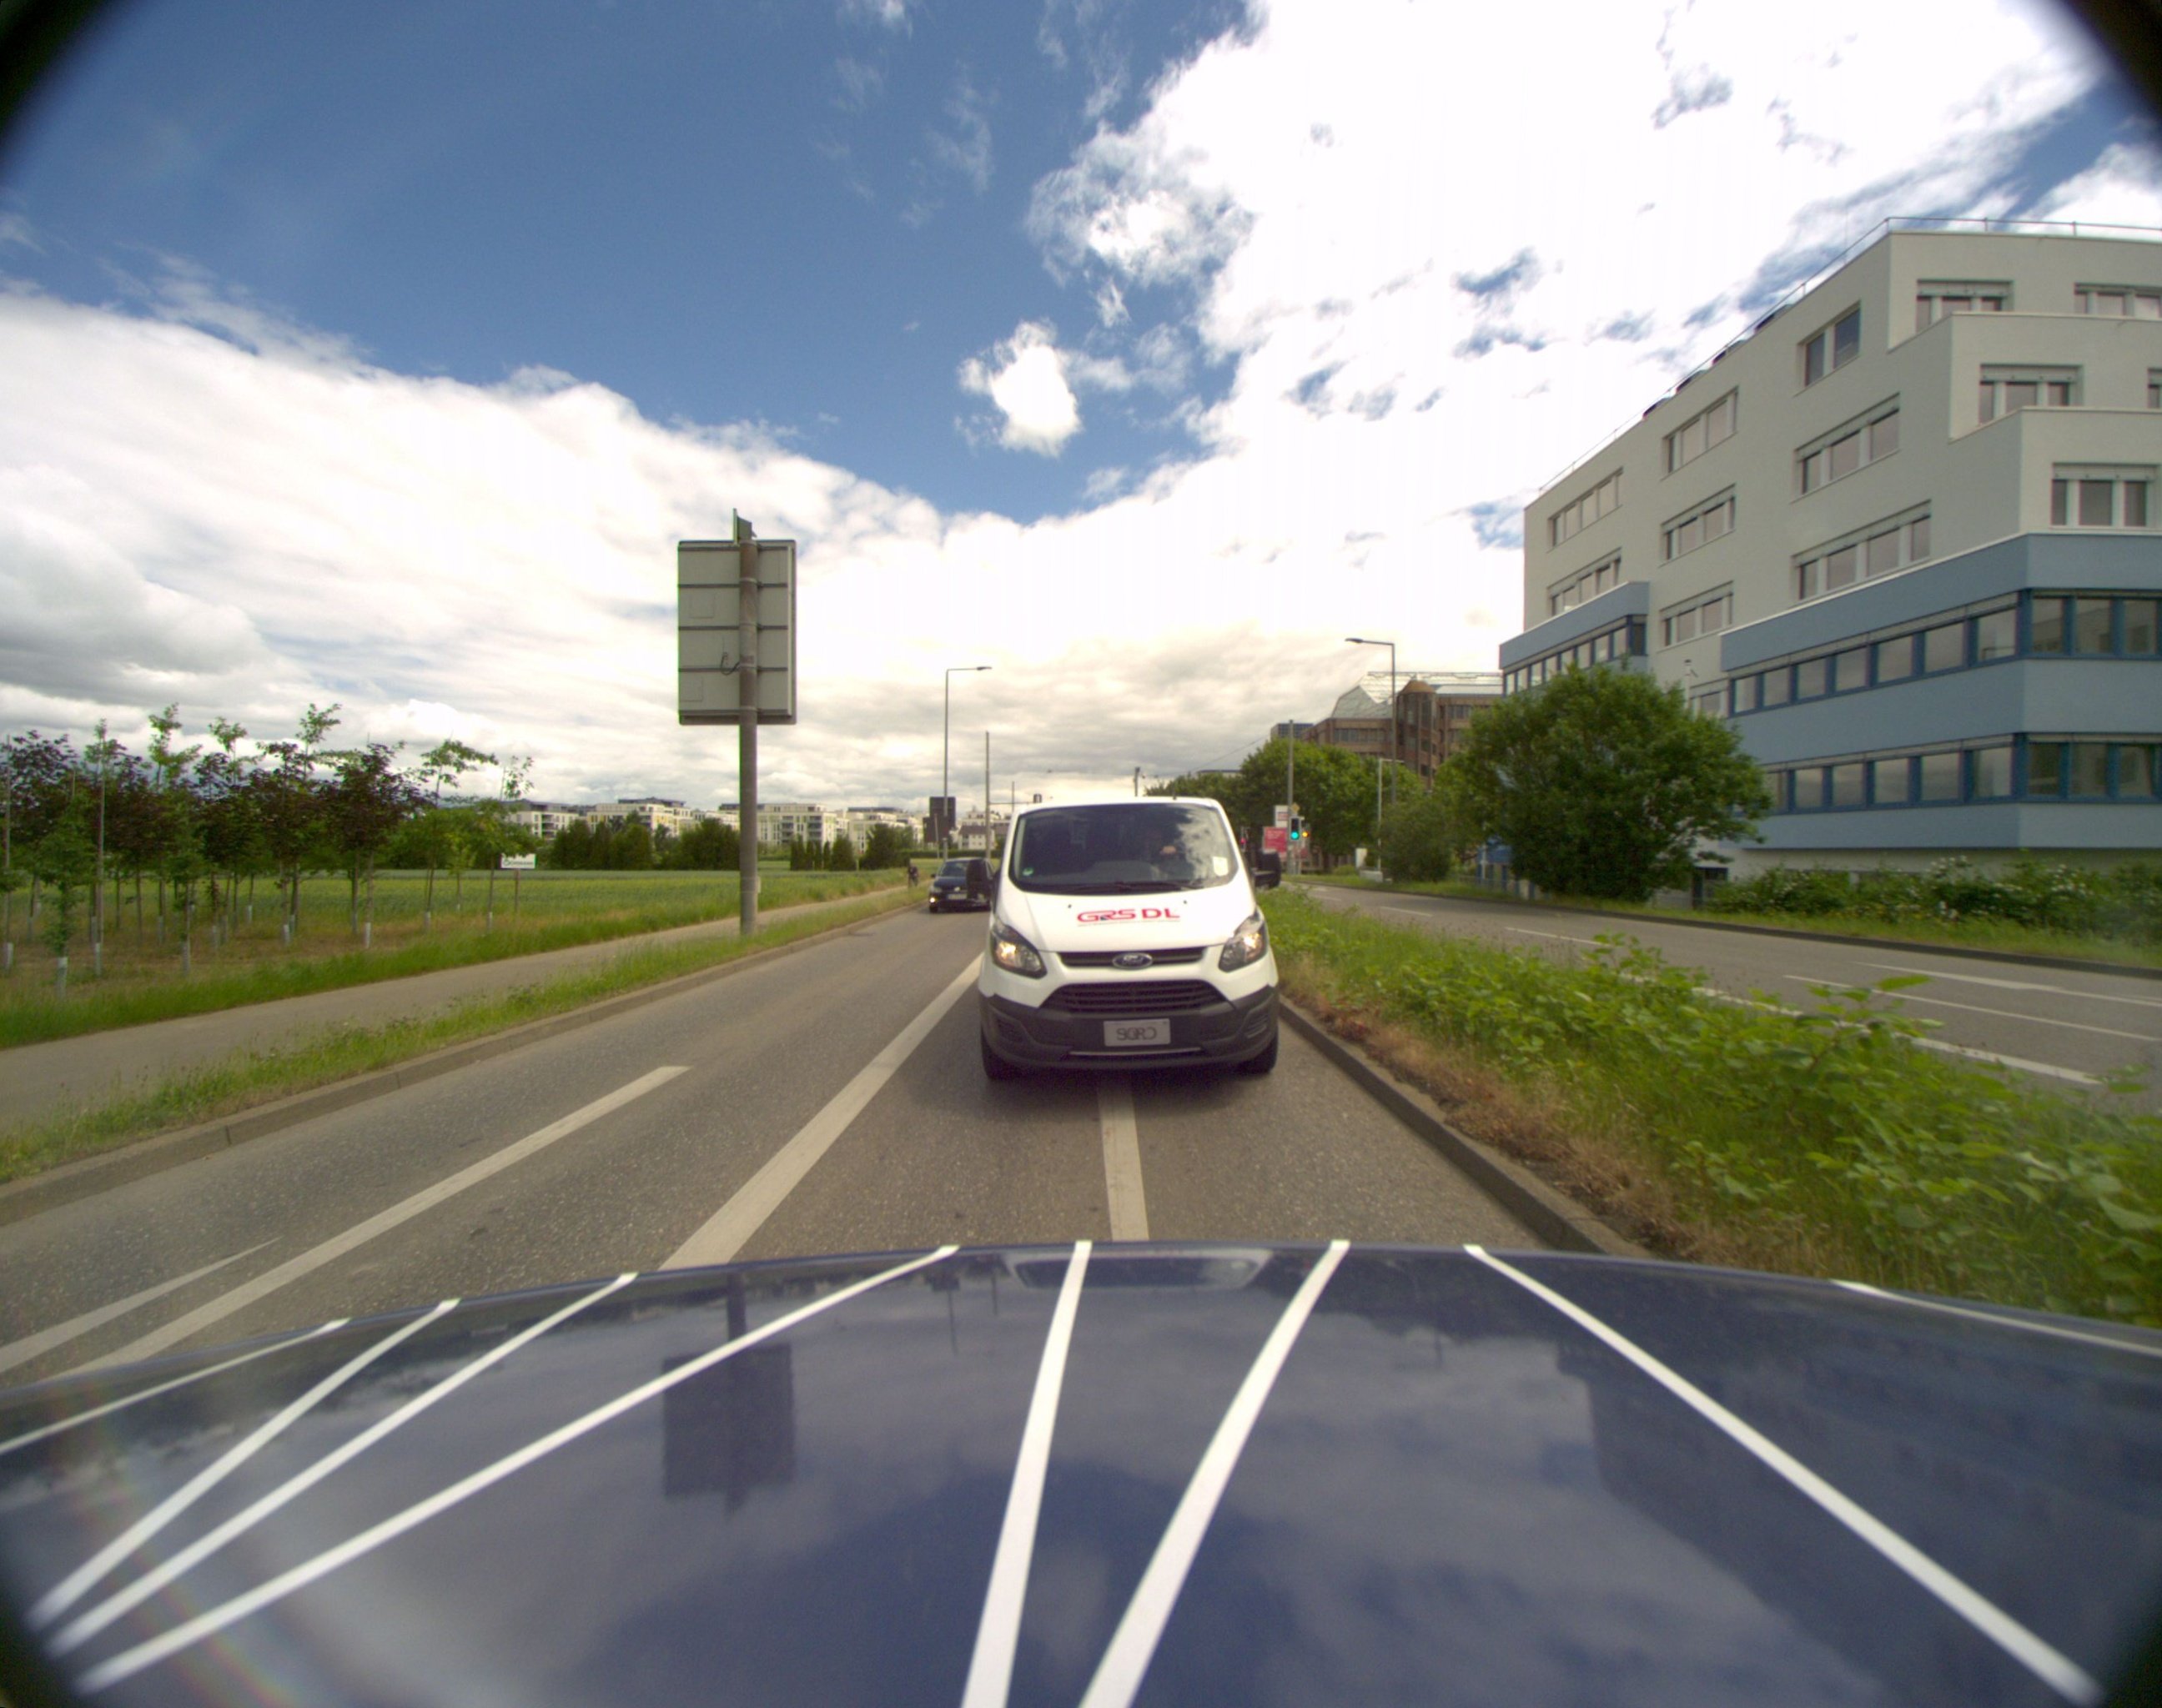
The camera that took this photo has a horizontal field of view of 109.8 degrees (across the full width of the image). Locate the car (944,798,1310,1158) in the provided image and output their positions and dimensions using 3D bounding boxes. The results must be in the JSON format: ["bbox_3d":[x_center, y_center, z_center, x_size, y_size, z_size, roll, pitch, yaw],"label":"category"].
[{"bbox_3d":[0.290,0.675,6.712,1.968,1.938,5.054,-2,0,1],"label":"car"}]

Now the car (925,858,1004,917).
[{"bbox_3d":[-3.192,0.876,21.470,1.683,1.410,3.739,-1,1,-1],"label":"car"}]

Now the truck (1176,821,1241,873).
[{"bbox_3d":[9.198,-0.512,56.209,3.176,3.498,9.524,0,1,0],"label":"truck"}]

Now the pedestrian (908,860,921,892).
[{"bbox_3d":[-8.950,1.188,40.873,0.492,1.693,0.626,-2,1,-1],"label":"pedestrian"}]
